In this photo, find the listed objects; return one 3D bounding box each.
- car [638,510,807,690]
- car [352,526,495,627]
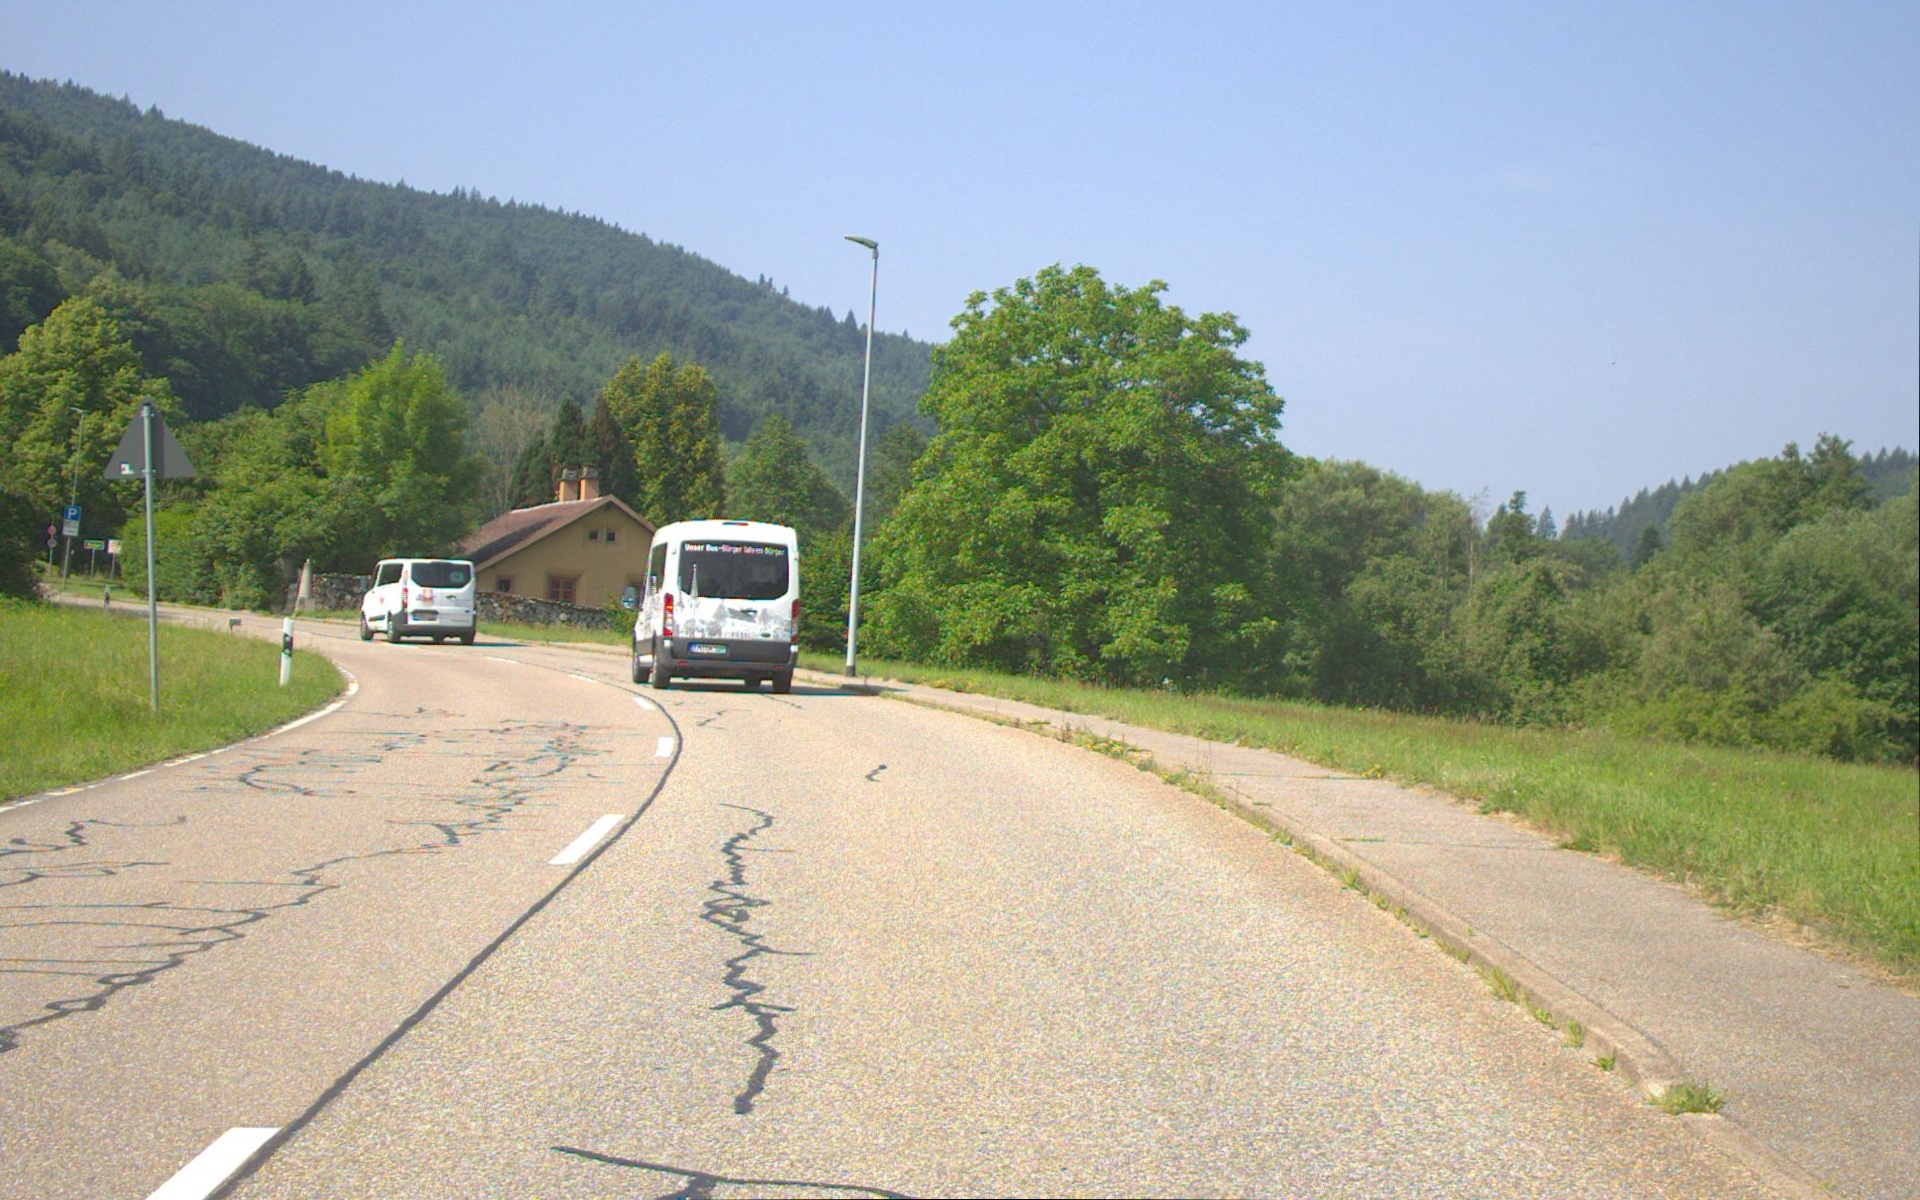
[{"bbox_3d":[-3.603,-0.007,51.251,2.222,2.517,4.985,-1,0,-7],"label":"car"},{"bbox_3d":[-12.733,-0.538,81.293,2.222,2.279,4.985,-1,0,-22],"label":"car"}]
